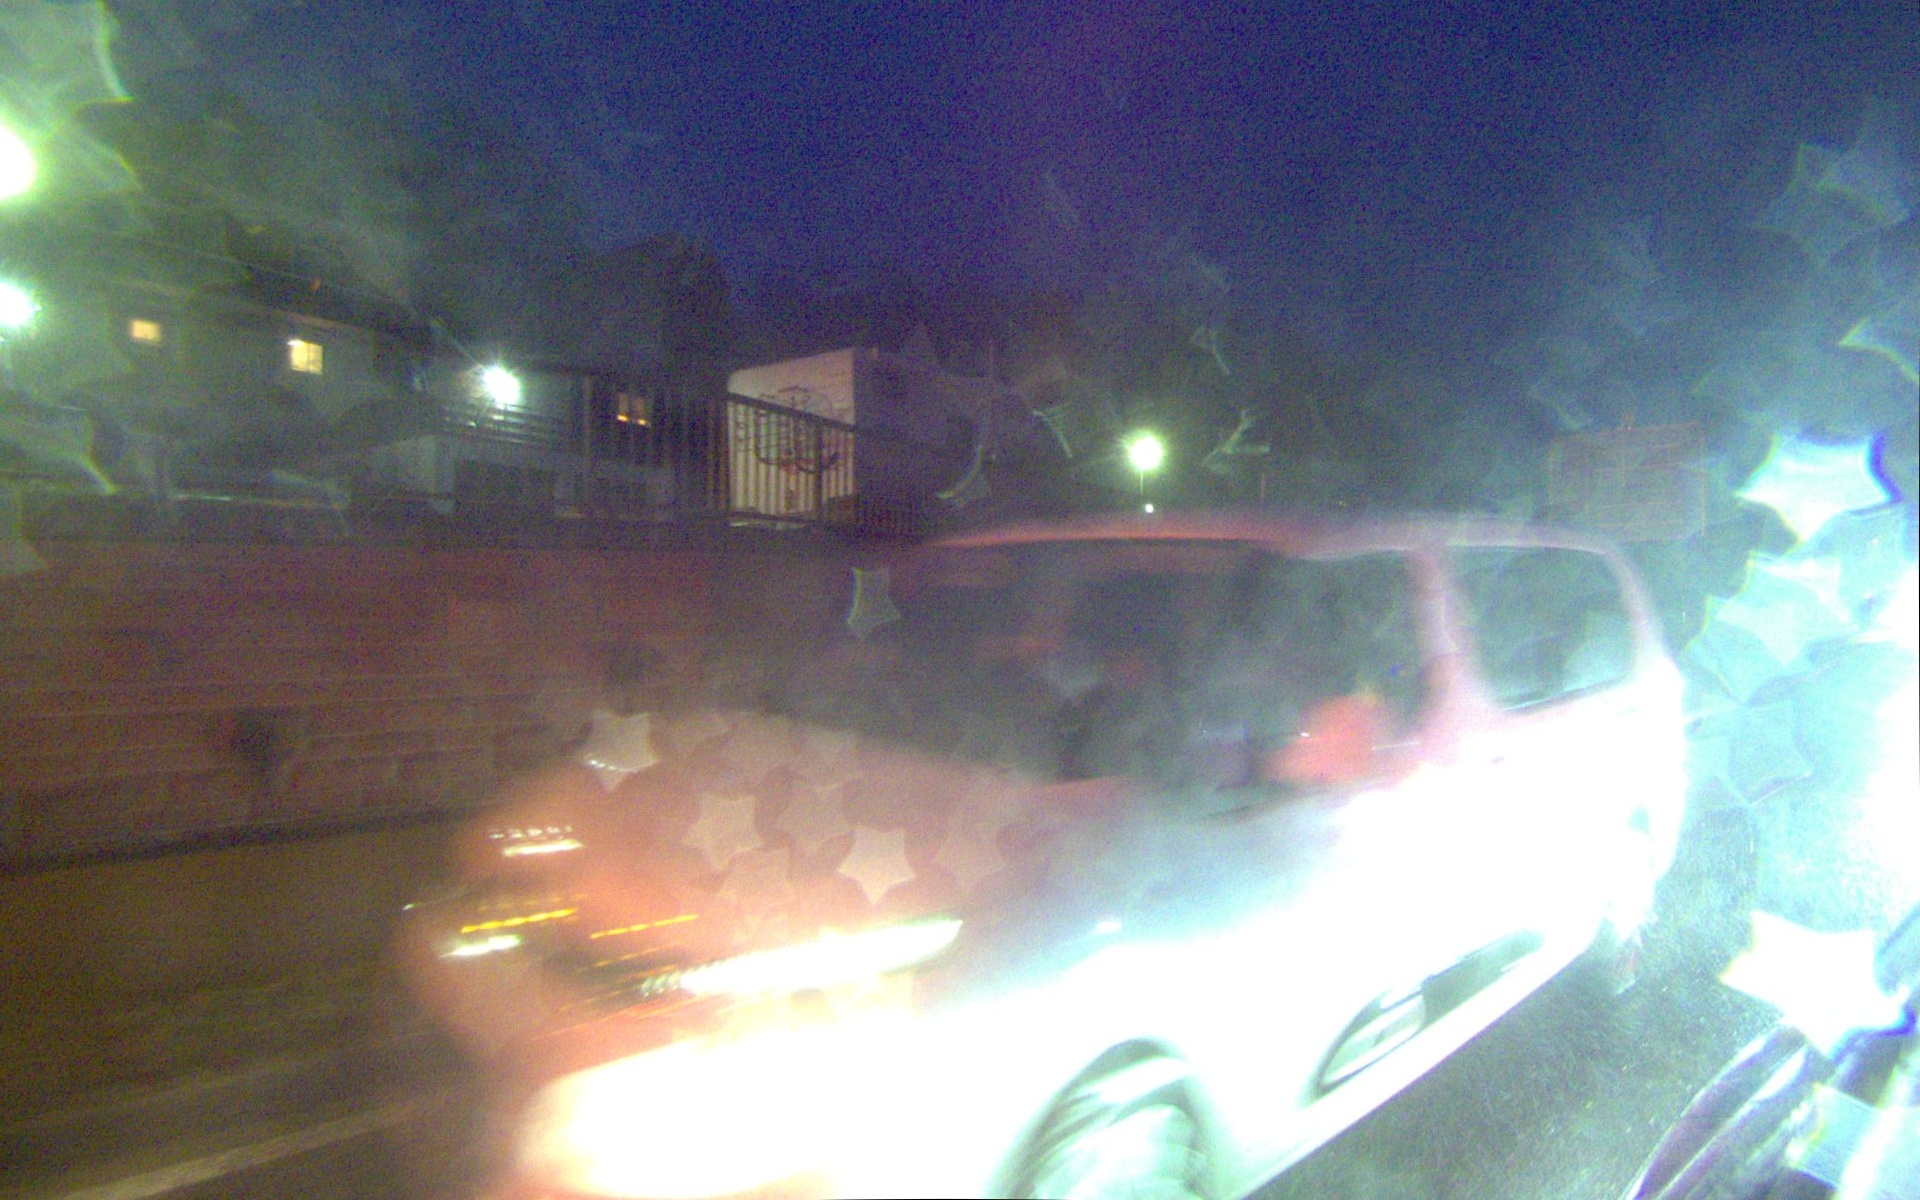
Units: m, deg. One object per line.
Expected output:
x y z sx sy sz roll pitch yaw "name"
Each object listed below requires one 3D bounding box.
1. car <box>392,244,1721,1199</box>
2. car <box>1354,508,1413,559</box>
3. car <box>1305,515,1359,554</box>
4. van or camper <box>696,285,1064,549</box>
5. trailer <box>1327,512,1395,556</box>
0.869 0.482 3.423 4.626 1.841 1.758 0 0 -40 "car"
24.522 -3.767 58.540 2.107 2.668 5.384 1 1 34 "car"
17.543 -3.033 47.610 1.605 1.660 3.955 1 1 32 "car"
-0.851 -2.378 15.581 2.566 2.944 6.292 1 1 29 "van or camper"
21.434 -3.452 53.957 2.218 2.097 5.651 2 2 34 "trailer"
